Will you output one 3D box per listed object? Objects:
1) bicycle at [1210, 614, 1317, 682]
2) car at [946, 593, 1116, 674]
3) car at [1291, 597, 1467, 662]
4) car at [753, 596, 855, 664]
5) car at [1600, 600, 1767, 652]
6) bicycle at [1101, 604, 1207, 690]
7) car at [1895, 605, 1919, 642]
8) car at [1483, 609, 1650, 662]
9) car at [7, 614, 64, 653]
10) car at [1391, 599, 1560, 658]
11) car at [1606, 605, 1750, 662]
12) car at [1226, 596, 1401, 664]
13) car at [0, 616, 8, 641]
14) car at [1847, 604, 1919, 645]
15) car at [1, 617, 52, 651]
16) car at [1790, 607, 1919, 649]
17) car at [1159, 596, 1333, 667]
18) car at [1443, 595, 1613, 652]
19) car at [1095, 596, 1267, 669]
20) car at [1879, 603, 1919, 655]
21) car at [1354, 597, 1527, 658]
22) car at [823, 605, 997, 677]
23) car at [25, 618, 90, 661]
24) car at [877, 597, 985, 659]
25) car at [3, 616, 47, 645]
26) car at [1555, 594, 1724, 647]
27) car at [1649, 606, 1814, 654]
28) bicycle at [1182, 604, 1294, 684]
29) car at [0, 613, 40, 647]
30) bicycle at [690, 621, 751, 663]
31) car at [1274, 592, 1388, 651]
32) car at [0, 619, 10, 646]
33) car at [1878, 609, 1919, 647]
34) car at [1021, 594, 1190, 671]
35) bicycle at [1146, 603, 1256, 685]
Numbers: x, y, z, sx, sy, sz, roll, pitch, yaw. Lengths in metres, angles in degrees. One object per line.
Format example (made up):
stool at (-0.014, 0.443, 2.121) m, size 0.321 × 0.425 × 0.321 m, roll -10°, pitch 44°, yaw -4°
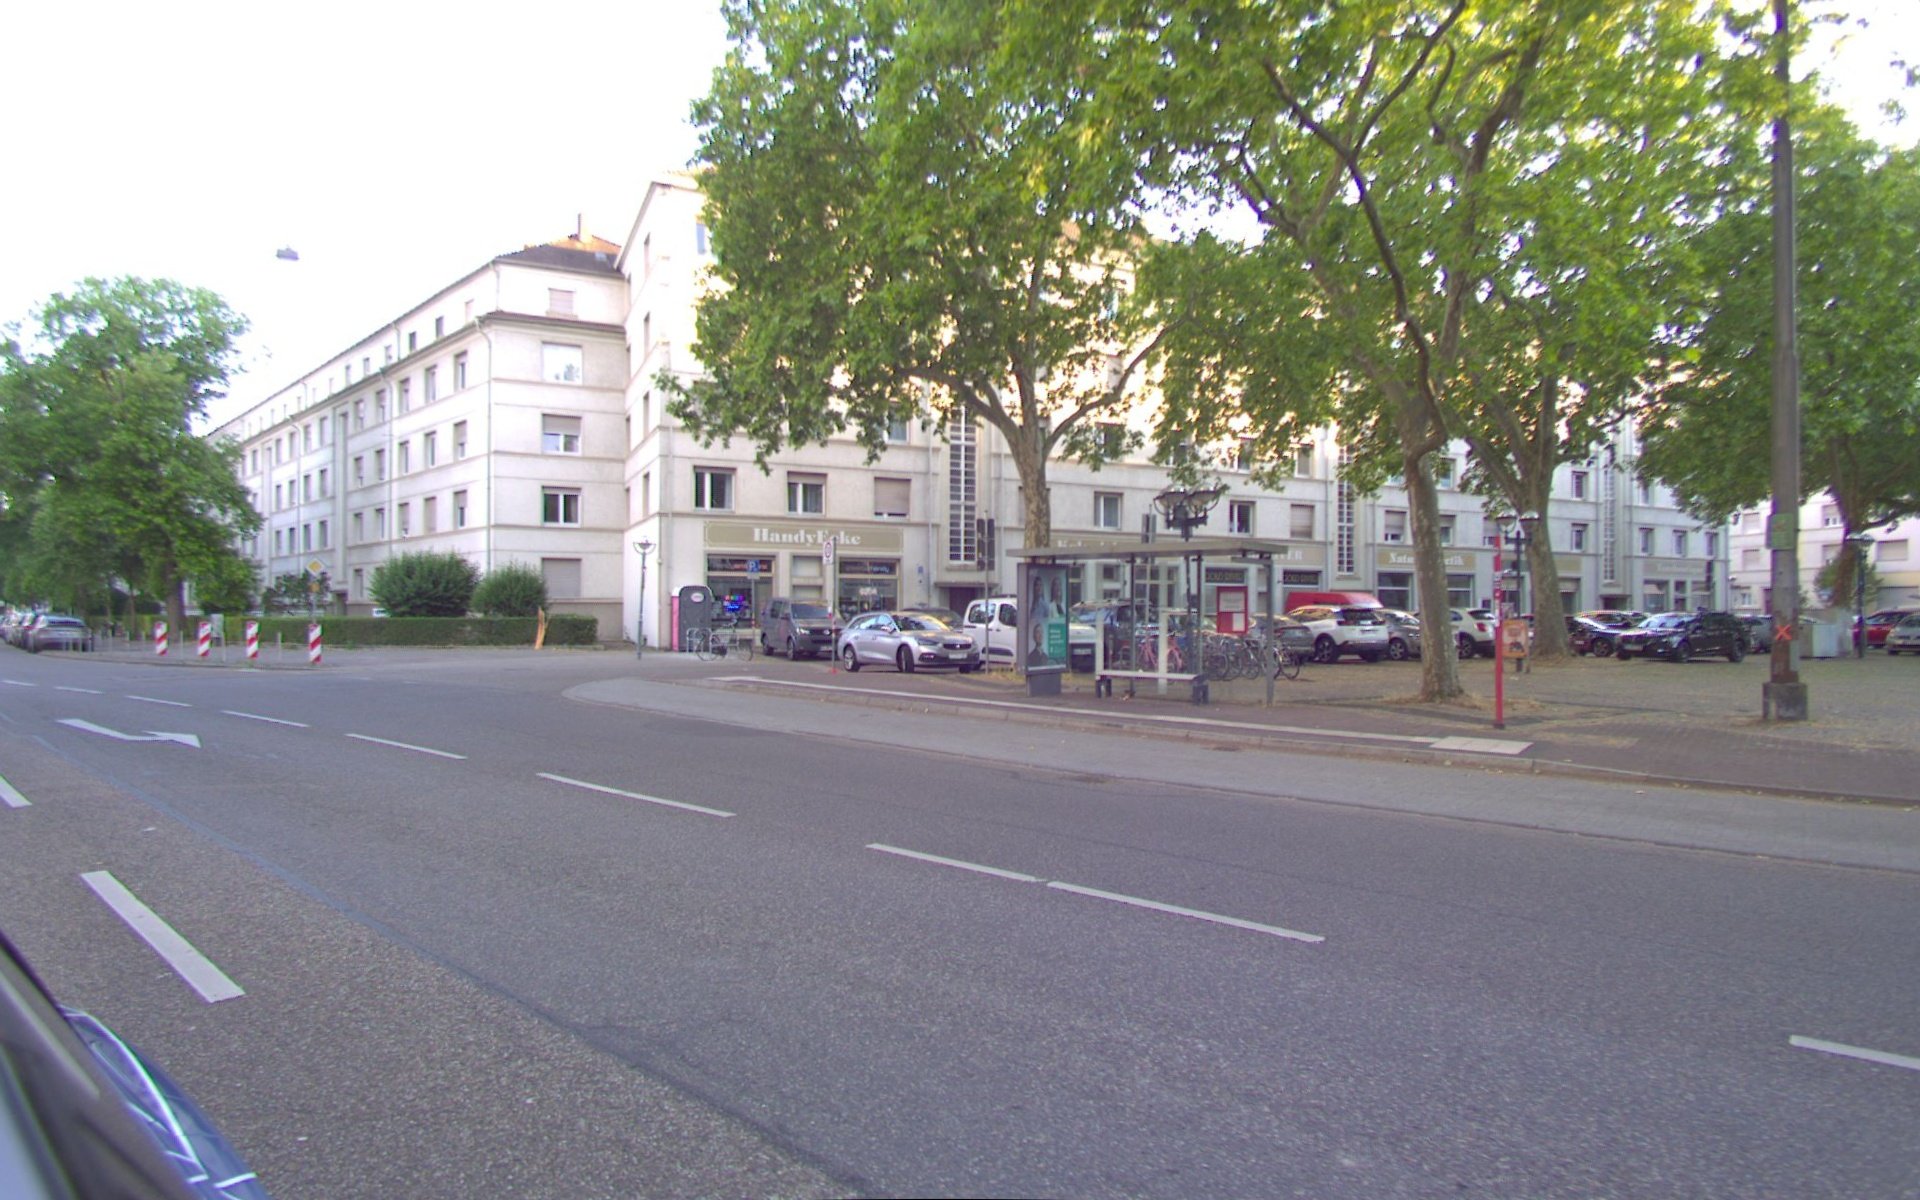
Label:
bicycle at (6.772, 1.038, 22.791) m, size 0.680 × 1.394 × 2.754 m, roll 0°, pitch 0°, yaw -24°
car at (1.607, 0.861, 24.877) m, size 1.965 × 1.795 × 4.655 m, roll 2°, pitch -3°, yaw -28°
car at (12.486, 0.932, 30.494) m, size 1.965 × 1.795 × 4.655 m, roll 2°, pitch -3°, yaw -28°
car at (-5.206, 0.924, 33.185) m, size 1.965 × 1.970 × 4.656 m, roll 1°, pitch 0°, yaw -26°
car at (26.965, 1.024, 37.888) m, size 1.965 × 1.795 × 4.655 m, roll 2°, pitch -3°, yaw -28°
bicycle at (3.944, 0.906, 20.833) m, size 0.680 × 1.626 × 2.754 m, roll 0°, pitch 0°, yaw -24°
car at (47.697, 1.111, 48.004) m, size 1.969 × 1.748 × 4.648 m, roll 2°, pitch -4°, yaw -40°
car at (21.247, 1.287, 35.691) m, size 1.965 × 1.748 × 4.655 m, roll 2°, pitch -3°, yaw -28°
car at (-43.457, 1.538, 47.556) m, size 1.866 × 1.703 × 4.263 m, roll 0°, pitch 0°, yaw -44°
car at (16.898, 0.981, 33.417) m, size 1.965 × 1.795 × 4.655 m, roll 2°, pitch -3°, yaw -28°
car at (20.636, 0.930, 29.102) m, size 3.696 × 1.540 × 1.680 m, roll 1°, pitch 0°, yaw -23°
car at (10.073, 0.912, 29.243) m, size 1.965 × 1.795 × 4.655 m, roll 2°, pitch -3°, yaw -28°
car at (-76.447, 2.229, 79.847) m, size 1.866 × 1.879 × 4.263 m, roll 0°, pitch 0°, yaw -44°
car at (43.313, 1.129, 45.663) m, size 1.968 × 1.824 × 4.658 m, roll 2°, pitch -3°, yaw -38°
car at (-48.665, 1.742, 52.728) m, size 1.866 × 1.612 × 4.263 m, roll 0°, pitch 0°, yaw -44°
car at (40.340, 1.292, 45.252) m, size 1.969 × 1.748 × 4.648 m, roll 2°, pitch -4°, yaw -40°
car at (7.860, 0.919, 28.324) m, size 1.965 × 1.795 × 4.655 m, roll 2°, pitch -3°, yaw -28°
car at (19.066, 0.853, 34.230) m, size 1.965 × 1.795 × 4.655 m, roll 2°, pitch -3°, yaw -28°
car at (5.807, 0.914, 27.241) m, size 1.965 × 1.795 × 4.655 m, roll 2°, pitch -3°, yaw -28°
car at (32.958, 0.937, 34.011) m, size 3.696 × 1.674 × 1.680 m, roll 0°, pitch 0°, yaw -23°
car at (15.057, 0.917, 31.995) m, size 1.965 × 1.795 × 4.655 m, roll 2°, pitch -3°, yaw -28°
car at (-1.307, 0.987, 24.007) m, size 1.967 × 1.515 × 4.652 m, roll 2°, pitch -3°, yaw -35°
car at (-37.625, 1.580, 42.142) m, size 1.867 × 1.612 × 4.003 m, roll 0°, pitch 0°, yaw -44°
car at (-1.106, 0.933, 35.532) m, size 1.965 × 1.970 × 4.656 m, roll 1°, pitch 0°, yaw -26°
car at (-56.536, 1.796, 61.166) m, size 1.866 × 1.612 × 4.263 m, roll 0°, pitch 0°, yaw -44°
car at (24.624, 0.822, 36.874) m, size 2.057 × 1.795 × 4.655 m, roll 2°, pitch -3°, yaw -28°
car at (29.734, 1.194, 39.186) m, size 1.965 × 1.748 × 4.655 m, roll 2°, pitch -3°, yaw -28°
bicycle at (6.061, 0.917, 22.277) m, size 0.795 × 1.626 × 2.754 m, roll 0°, pitch 0°, yaw -24°
car at (-53.004, 1.637, 56.809) m, size 1.866 × 1.787 × 4.263 m, roll 0°, pitch 0°, yaw -44°
bicycle at (-7.286, 1.278, 30.775) m, size 1.776 × 1.215 × 0.649 m, roll 0°, pitch 0°, yaw -16°
car at (16.530, 0.898, 45.304) m, size 1.965 × 2.460 × 4.656 m, roll 1°, pitch 0°, yaw -26°
car at (-70.576, 2.385, 73.768) m, size 1.866 × 1.840 × 4.263 m, roll 0°, pitch 0°, yaw -44°
car at (45.604, 1.279, 46.635) m, size 1.969 × 1.748 × 4.648 m, roll 2°, pitch -4°, yaw -40°
car at (3.651, 0.884, 26.336) m, size 1.965 × 1.795 × 4.655 m, roll 2°, pitch -3°, yaw -28°
bicycle at (5.122, 0.896, 21.761) m, size 0.795 × 1.626 × 2.754 m, roll 0°, pitch 0°, yaw -24°
